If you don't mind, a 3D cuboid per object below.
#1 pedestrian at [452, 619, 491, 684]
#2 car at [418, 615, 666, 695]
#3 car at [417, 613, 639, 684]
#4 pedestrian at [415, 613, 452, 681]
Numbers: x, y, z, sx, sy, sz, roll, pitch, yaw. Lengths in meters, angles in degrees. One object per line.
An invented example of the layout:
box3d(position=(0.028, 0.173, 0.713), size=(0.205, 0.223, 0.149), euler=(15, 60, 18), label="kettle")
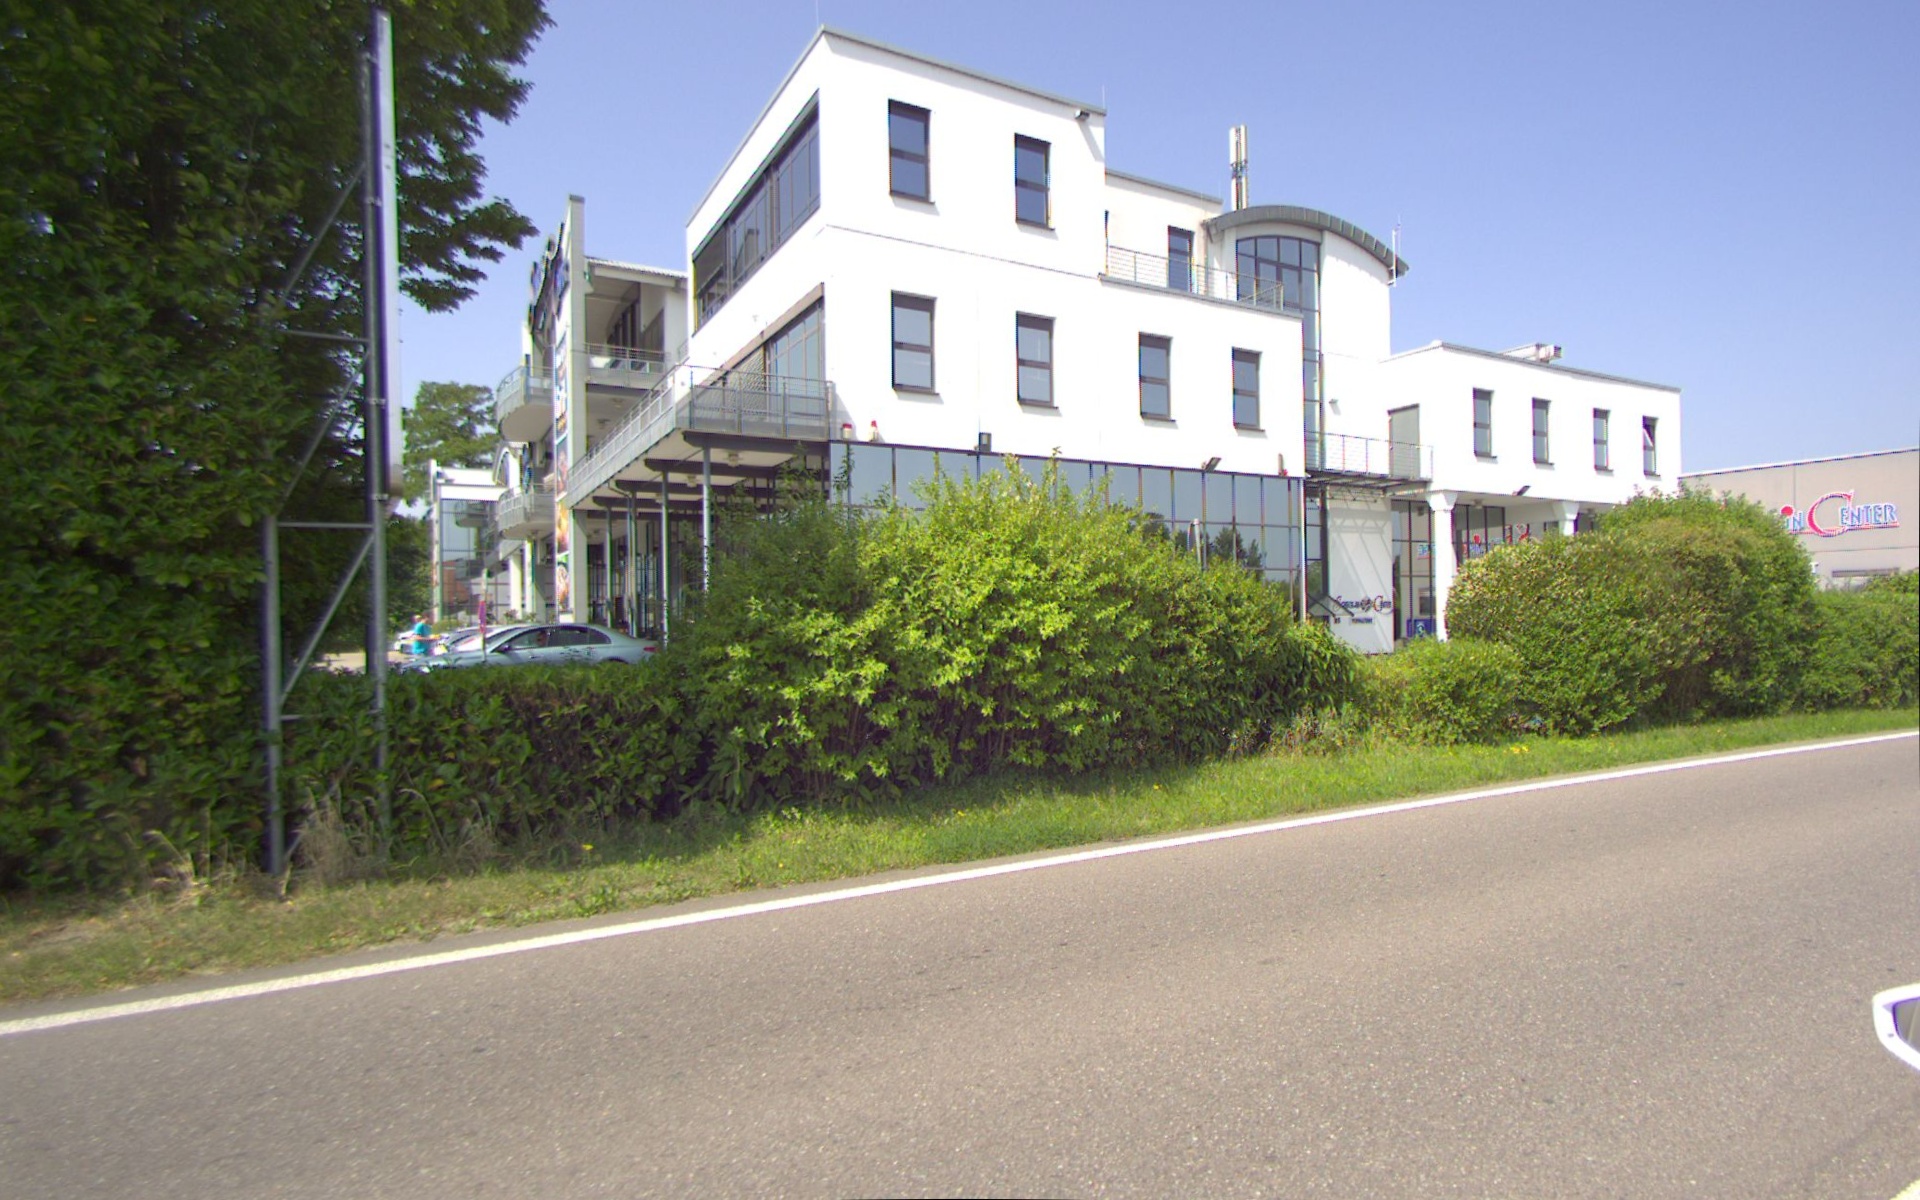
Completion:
box3d(position=(-11.377, 1.196, 23.383), size=(0.638, 1.470, 0.630), euler=(2, 0, -44), label="pedestrian")
box3d(position=(-8.225, 1.050, 19.866), size=(4.333, 1.414, 1.695), euler=(2, -1, -30), label="car")
box3d(position=(-9.512, 1.048, 22.219), size=(4.333, 1.414, 1.695), euler=(2, -1, -30), label="car")
box3d(position=(-11.820, 1.048, 22.574), size=(0.692, 1.470, 0.634), euler=(1, 0, -28), label="pedestrian")
